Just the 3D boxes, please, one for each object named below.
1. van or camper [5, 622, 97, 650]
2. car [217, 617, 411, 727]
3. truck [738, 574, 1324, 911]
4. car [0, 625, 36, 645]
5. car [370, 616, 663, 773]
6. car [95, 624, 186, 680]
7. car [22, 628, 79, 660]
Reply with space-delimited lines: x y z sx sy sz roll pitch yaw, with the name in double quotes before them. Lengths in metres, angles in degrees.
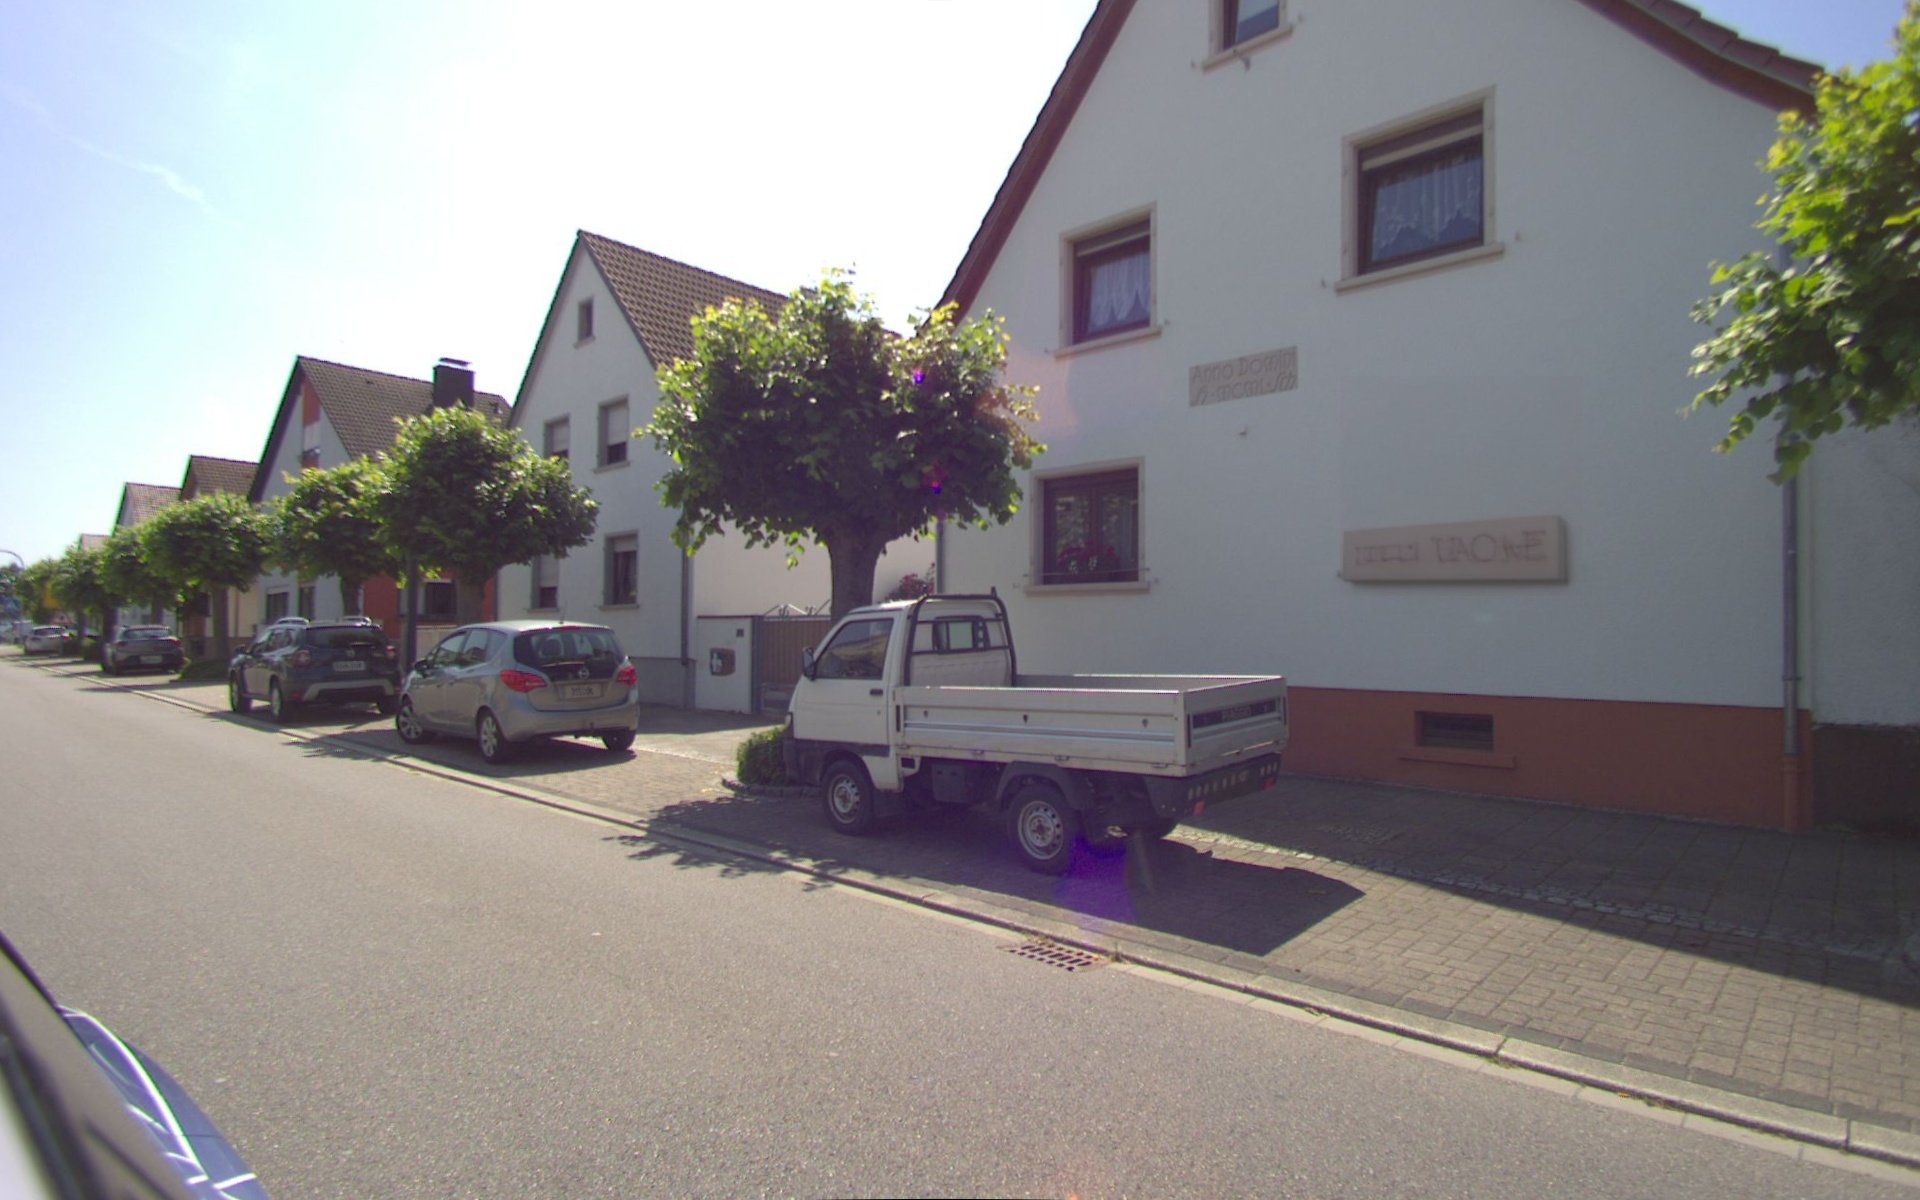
"van or camper" -65.173 2.568 72.611 1.999 1.877 4.690 -3 -2 42
"car" -11.376 1.189 17.699 4.299 1.649 1.833 -3 -1 43
"truck" 0.267 0.785 7.366 4.192 1.778 1.559 -1 -1 43
"car" -83.689 3.074 88.307 1.942 1.732 4.200 -1 0 37
"car" -5.775 1.040 12.896 4.370 1.625 1.833 -1 0 43
"car" -26.194 1.618 32.298 4.137 1.625 1.832 -2 -1 45
"car" -46.431 2.212 51.643 4.133 1.494 1.805 -1 -1 43
